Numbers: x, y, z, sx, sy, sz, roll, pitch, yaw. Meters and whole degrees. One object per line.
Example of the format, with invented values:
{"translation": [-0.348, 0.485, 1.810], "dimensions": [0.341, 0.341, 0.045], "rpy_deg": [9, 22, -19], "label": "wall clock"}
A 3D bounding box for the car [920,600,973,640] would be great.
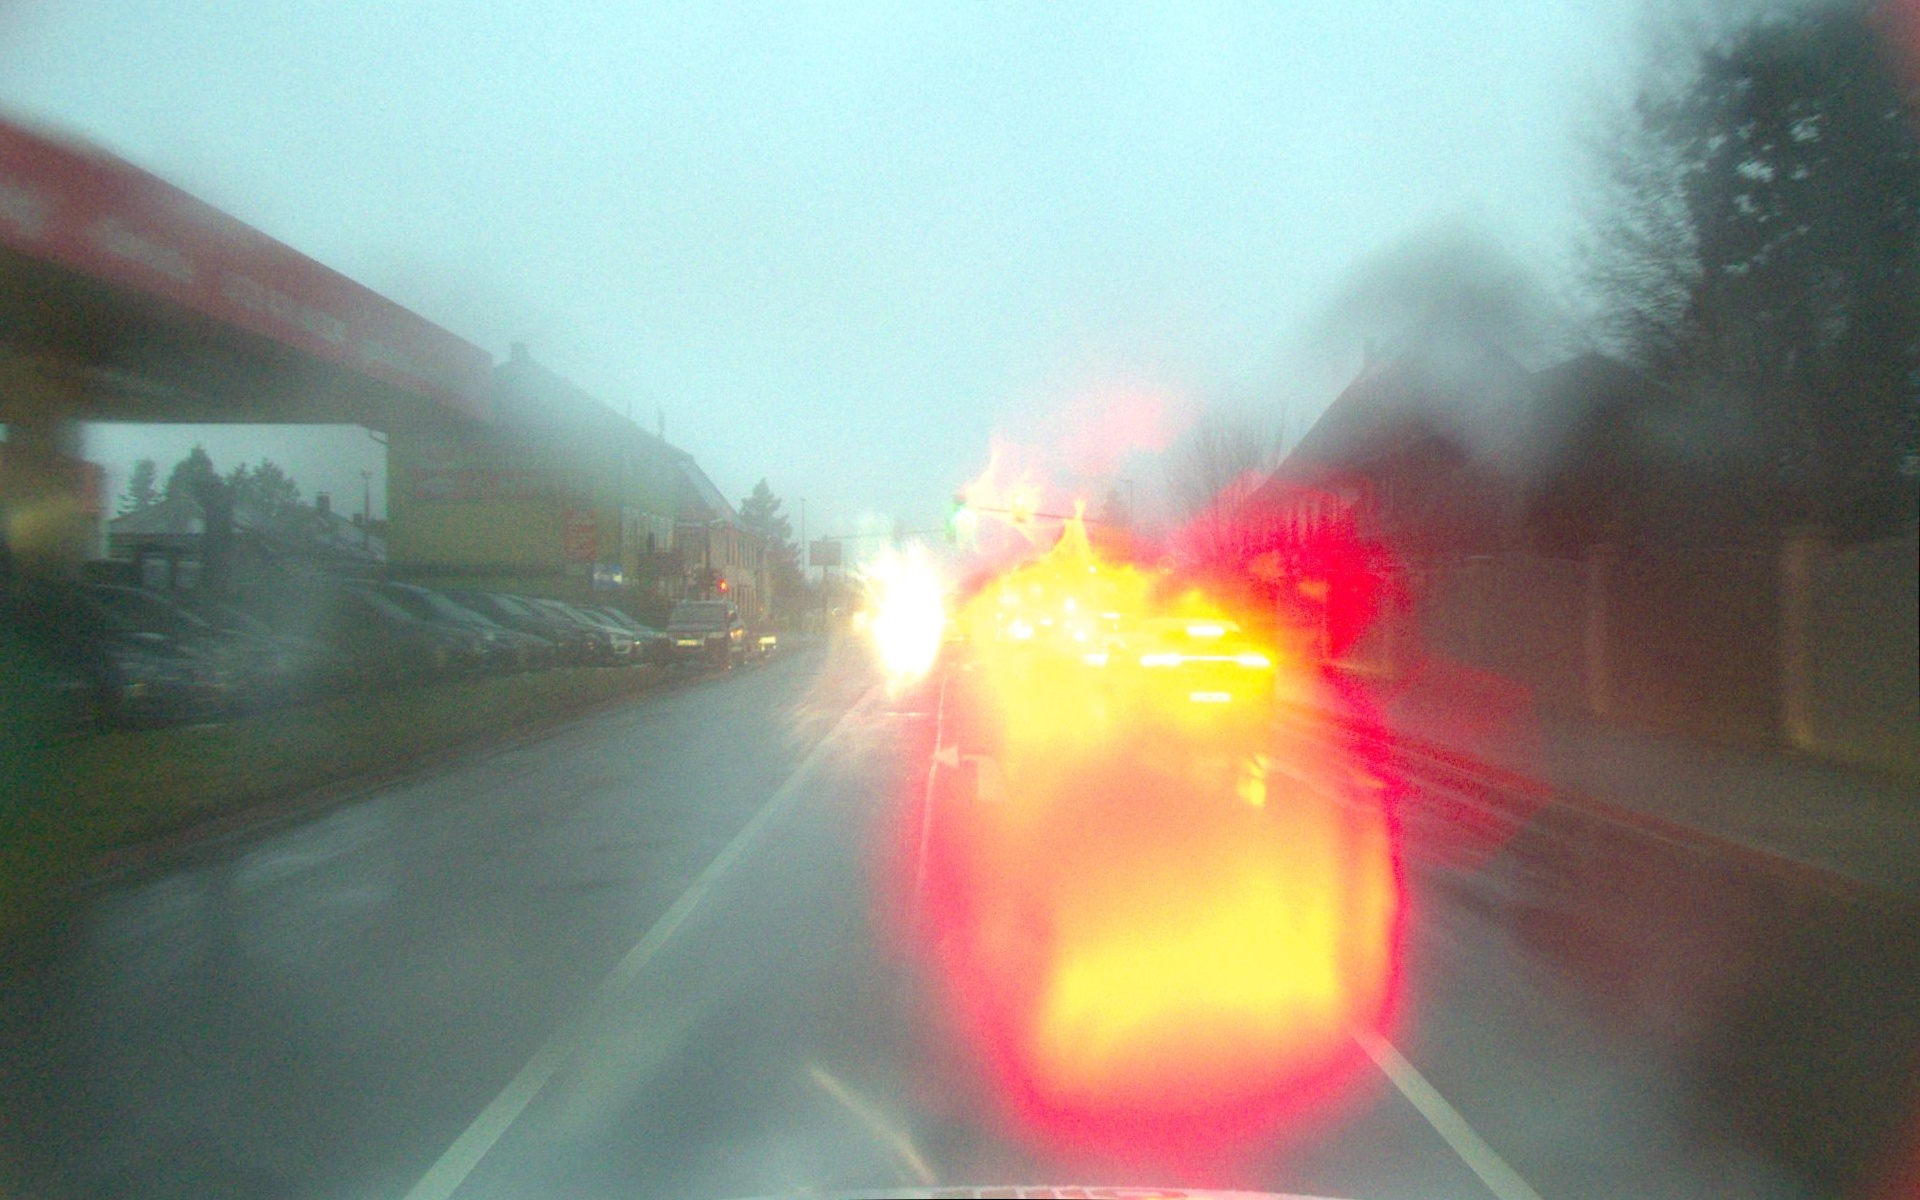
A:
{"translation": [-0.606, 0.807, 69.668], "dimensions": [2.006, 1.600, 4.700], "rpy_deg": [-1, 0, -3], "label": "car"}

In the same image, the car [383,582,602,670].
{"translation": [-10.365, 0.568, 36.930], "dimensions": [4.190, 1.691, 2.136], "rpy_deg": [3, 0, 0], "label": "car"}

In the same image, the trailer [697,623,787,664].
{"translation": [-6.541, 1.282, 50.311], "dimensions": [1.953, 1.057, 6.103], "rpy_deg": [-1, 0, 0], "label": "trailer"}

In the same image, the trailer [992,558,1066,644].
{"translation": [2.779, 0.059, 69.749], "dimensions": [2.437, 3.297, 10.866], "rpy_deg": [1, 0, -1], "label": "trailer"}

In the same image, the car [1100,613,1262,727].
{"translation": [2.974, 0.897, 23.119], "dimensions": [1.607, 1.390, 4.768], "rpy_deg": [1, 0, 0], "label": "car"}

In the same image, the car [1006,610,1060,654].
{"translation": [2.539, 1.111, 58.502], "dimensions": [1.628, 1.464, 4.381], "rpy_deg": [1, 0, -1], "label": "car"}

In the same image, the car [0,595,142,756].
{"translation": [-9.803, 0.636, 15.044], "dimensions": [3.780, 1.369, 1.839], "rpy_deg": [1, 0, -1], "label": "car"}

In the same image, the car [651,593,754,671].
{"translation": [-6.548, 0.773, 42.503], "dimensions": [1.930, 1.862, 4.512], "rpy_deg": [-1, 0, 0], "label": "car"}

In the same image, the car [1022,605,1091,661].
{"translation": [2.917, 0.974, 50.883], "dimensions": [1.799, 1.596, 4.503], "rpy_deg": [1, 0, -1], "label": "car"}

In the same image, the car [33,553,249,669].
{"translation": [-14.269, 0.192, 29.077], "dimensions": [1.848, 1.902, 3.999], "rpy_deg": [0, 0, -1], "label": "car"}

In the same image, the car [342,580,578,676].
{"translation": [-10.264, 0.564, 34.184], "dimensions": [4.190, 1.691, 2.000], "rpy_deg": [3, 0, 0], "label": "car"}

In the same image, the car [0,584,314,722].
{"translation": [-10.176, 0.618, 20.272], "dimensions": [3.780, 1.586, 1.839], "rpy_deg": [1, 0, -1], "label": "car"}

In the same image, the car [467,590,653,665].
{"translation": [-10.190, 0.684, 42.326], "dimensions": [4.190, 1.655, 2.000], "rpy_deg": [3, 0, 0], "label": "car"}

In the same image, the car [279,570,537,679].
{"translation": [-10.496, 0.459, 31.681], "dimensions": [4.190, 1.794, 2.000], "rpy_deg": [3, 0, 0], "label": "car"}

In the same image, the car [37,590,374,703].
{"translation": [-10.327, 0.617, 22.853], "dimensions": [3.780, 1.467, 1.839], "rpy_deg": [1, 0, -1], "label": "car"}

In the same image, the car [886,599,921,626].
{"translation": [-3.793, 0.818, 111.422], "dimensions": [1.952, 1.777, 4.001], "rpy_deg": [-1, 0, 3], "label": "car"}

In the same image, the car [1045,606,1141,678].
{"translation": [2.686, 0.820, 34.143], "dimensions": [1.619, 1.359, 4.272], "rpy_deg": [1, 0, 0], "label": "car"}

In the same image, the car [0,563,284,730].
{"translation": [-9.773, 0.463, 17.742], "dimensions": [4.193, 1.685, 1.980], "rpy_deg": [1, 0, -1], "label": "car"}

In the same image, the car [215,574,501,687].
{"translation": [-10.451, 0.518, 28.962], "dimensions": [4.190, 1.691, 2.000], "rpy_deg": [3, 0, 0], "label": "car"}

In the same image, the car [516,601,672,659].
{"translation": [-9.931, 0.809, 45.016], "dimensions": [3.814, 1.453, 1.719], "rpy_deg": [1, 0, 0], "label": "car"}
